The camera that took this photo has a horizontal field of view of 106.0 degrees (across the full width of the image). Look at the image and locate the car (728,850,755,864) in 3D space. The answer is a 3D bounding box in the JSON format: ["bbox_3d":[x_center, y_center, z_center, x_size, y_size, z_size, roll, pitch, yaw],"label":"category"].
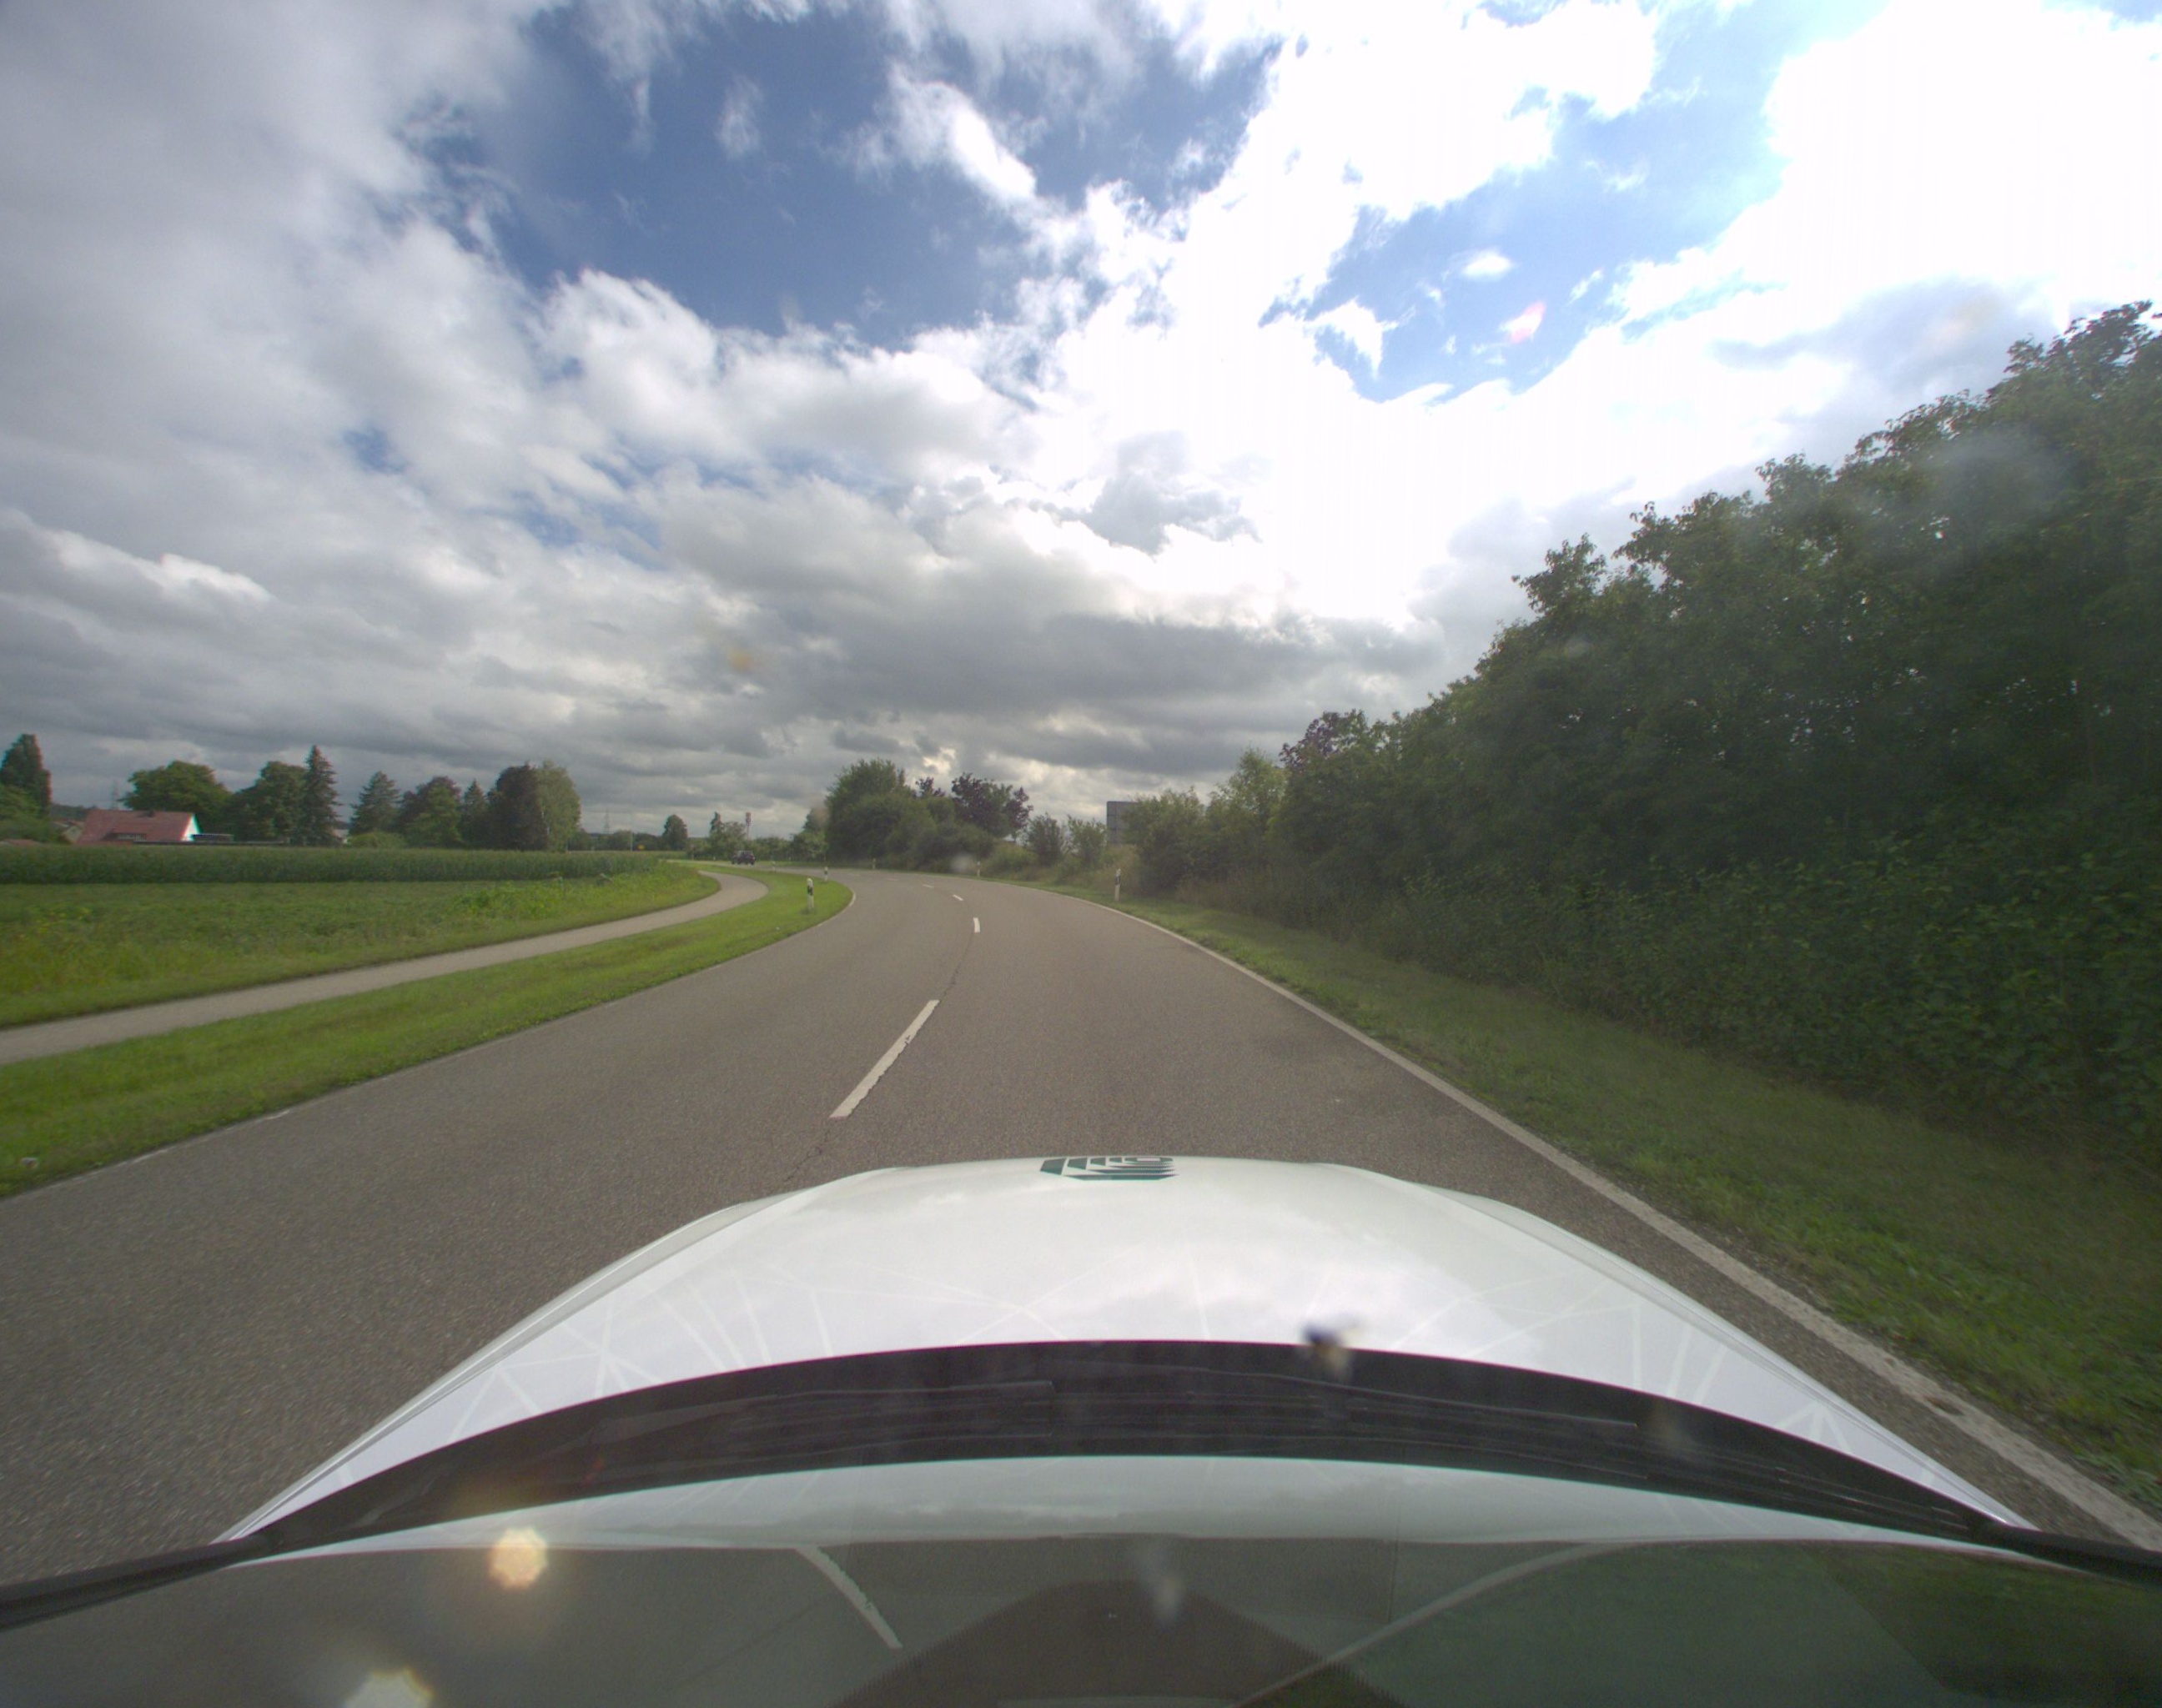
[{"bbox_3d":[-40.790,0.398,97.931,1.922,1.666,3.953,0,0,-40],"label":"car"}]
